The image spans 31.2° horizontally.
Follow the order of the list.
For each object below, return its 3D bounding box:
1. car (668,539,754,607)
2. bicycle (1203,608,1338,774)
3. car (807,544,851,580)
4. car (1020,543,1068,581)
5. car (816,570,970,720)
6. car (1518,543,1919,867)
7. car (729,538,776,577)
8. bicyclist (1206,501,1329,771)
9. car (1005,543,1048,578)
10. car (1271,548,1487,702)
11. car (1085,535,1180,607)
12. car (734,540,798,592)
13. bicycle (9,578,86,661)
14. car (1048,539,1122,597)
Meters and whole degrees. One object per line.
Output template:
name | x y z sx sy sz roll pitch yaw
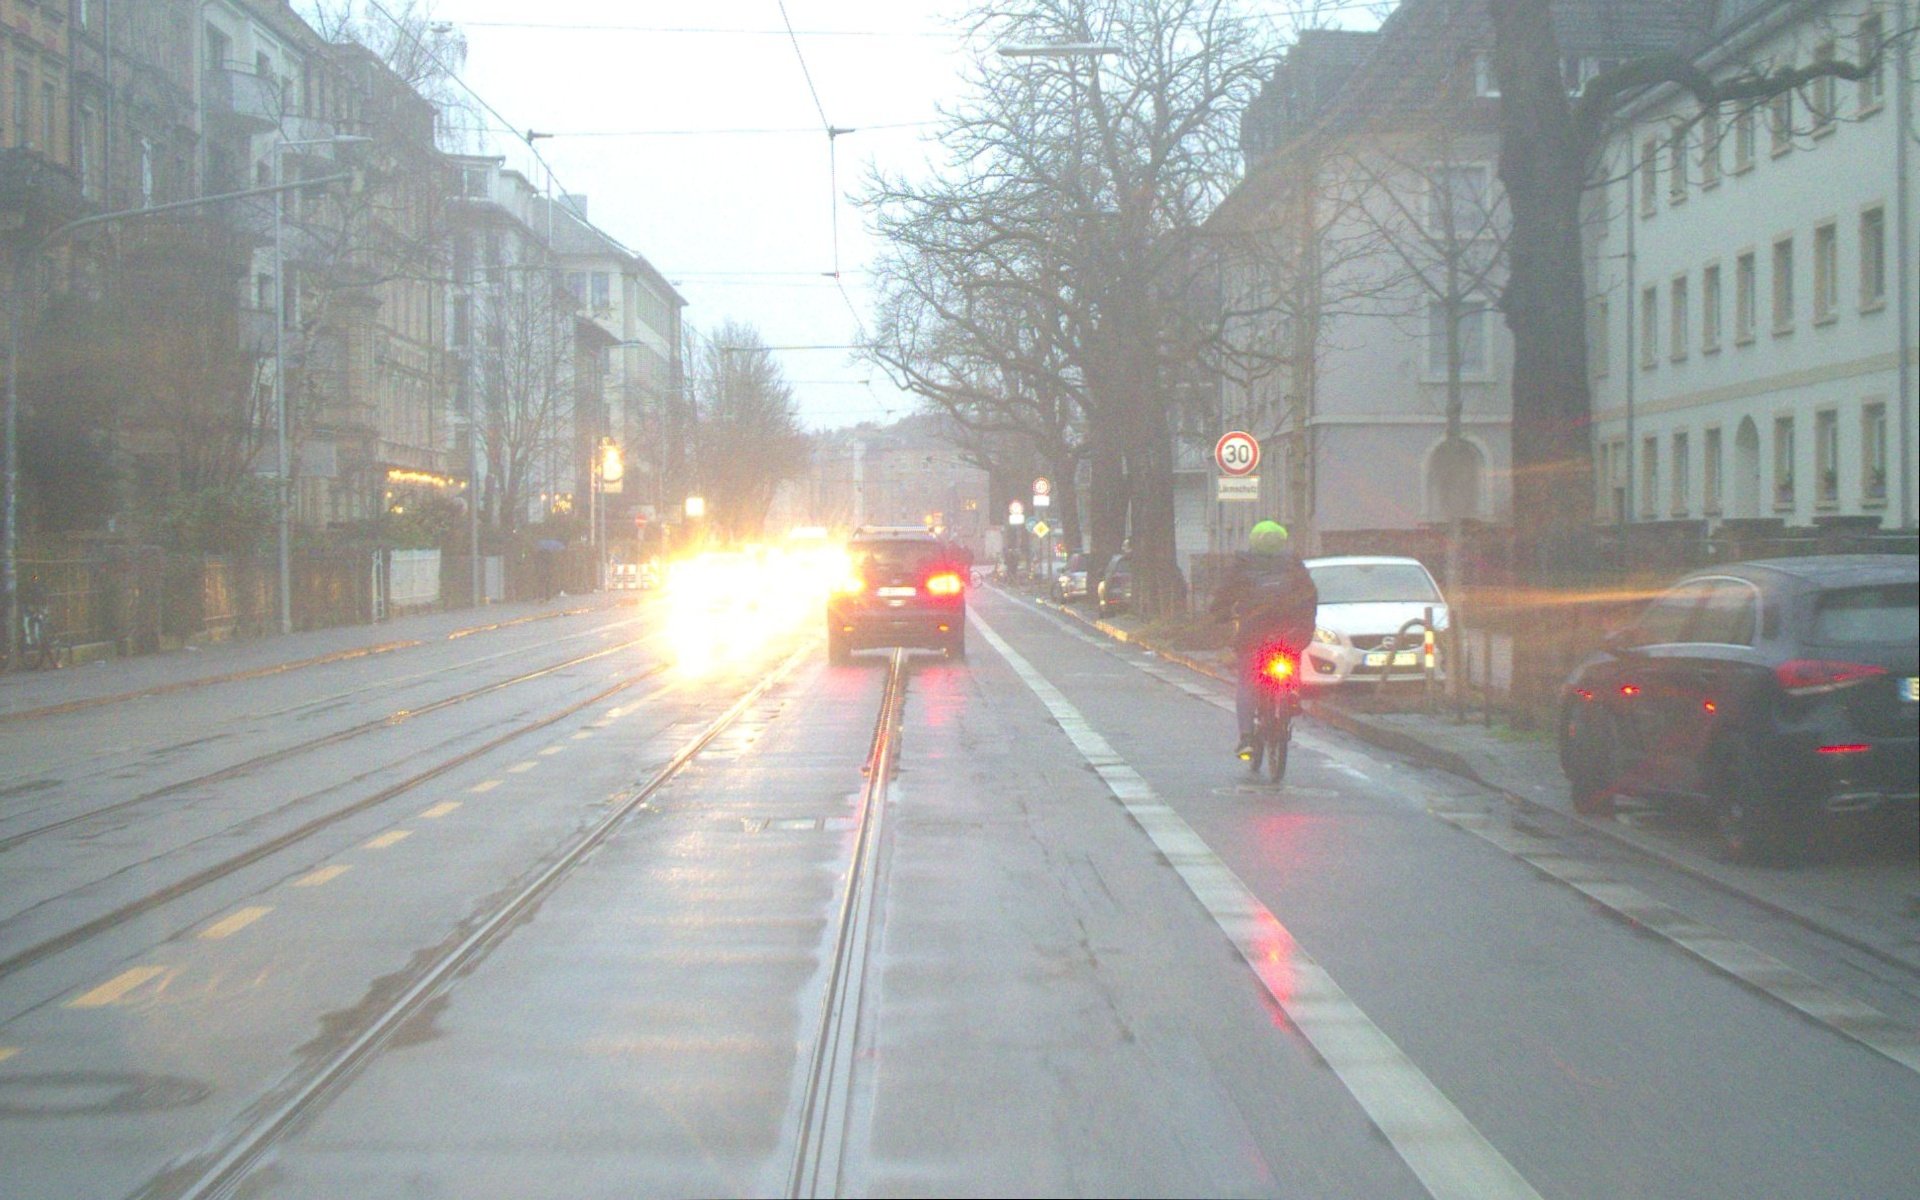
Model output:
car | -6.230 -0.705 86.372 1.923 1.656 4.000 0 1 -1
bicycle | 2.003 0.572 22.390 0.731 1.003 1.764 0 1 0
car | -6.071 -1.771 159.851 1.923 1.656 4.000 0 1 -1
car | 3.338 -1.523 137.311 1.785 1.504 4.109 0 1 -1
car | -0.872 0.576 47.263 1.802 1.864 4.018 3 1 2
car | 4.381 0.443 17.893 1.878 1.415 4.345 -2 1 -5
car | -9.276 -1.930 153.956 1.923 1.714 4.000 0 1 -1
bicyclist | 2.000 0.227 22.445 0.730 1.730 0.765 0 1 0
car | 2.896 -1.756 150.954 1.785 1.504 4.109 0 1 -1
car | 4.321 0.219 35.987 1.785 1.504 4.108 0 1 1
car | 3.677 -0.647 73.883 1.785 1.504 4.109 0 1 -1
car | -6.413 -1.140 113.871 1.923 1.656 4.000 0 1 -1
bicycle | -11.512 0.239 43.425 0.496 1.003 1.764 0 1 0
car | 3.316 -0.865 91.909 1.785 1.504 4.109 0 1 -1
